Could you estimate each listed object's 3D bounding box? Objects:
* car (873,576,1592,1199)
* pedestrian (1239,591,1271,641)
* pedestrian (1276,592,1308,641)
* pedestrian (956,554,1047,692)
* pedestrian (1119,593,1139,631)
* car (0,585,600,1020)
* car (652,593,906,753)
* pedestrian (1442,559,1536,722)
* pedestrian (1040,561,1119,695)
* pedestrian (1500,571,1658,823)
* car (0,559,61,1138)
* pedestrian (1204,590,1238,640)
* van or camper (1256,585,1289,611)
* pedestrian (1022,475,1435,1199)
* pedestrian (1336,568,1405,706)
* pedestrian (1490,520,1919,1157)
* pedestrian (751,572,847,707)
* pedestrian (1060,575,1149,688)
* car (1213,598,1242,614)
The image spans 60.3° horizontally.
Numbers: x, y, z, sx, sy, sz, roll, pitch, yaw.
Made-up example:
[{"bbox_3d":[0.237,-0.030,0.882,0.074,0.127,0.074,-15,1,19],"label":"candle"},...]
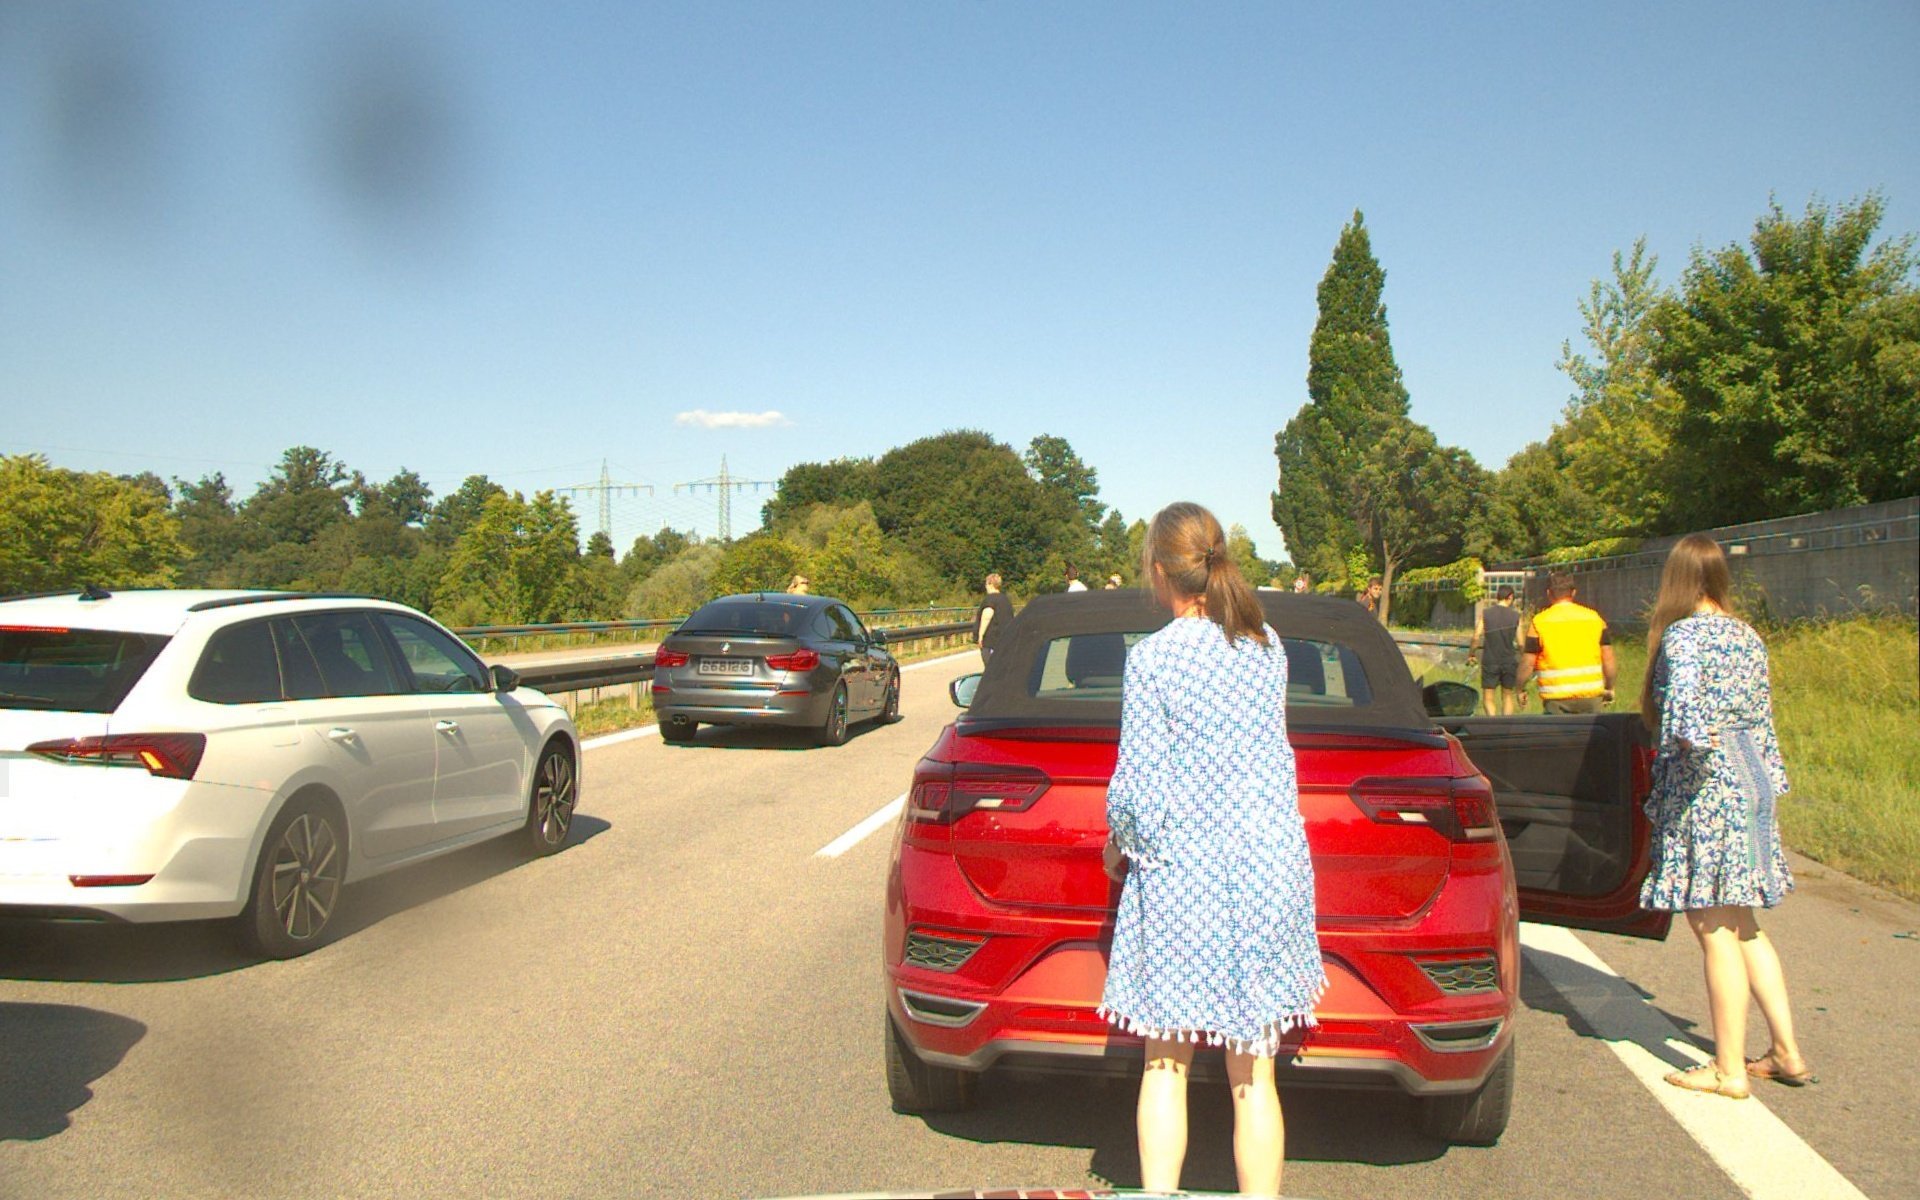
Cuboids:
[{"bbox_3d":[0.919,0.705,6.090,1.695,1.513,4.213,1,0,8],"label":"car"},{"bbox_3d":[10.385,0.554,58.224,1.033,1.719,1.018,1,0,15],"label":"pedestrian"},{"bbox_3d":[11.961,0.580,59.571,0.975,1.719,1.011,1,0,20],"label":"pedestrian"},{"bbox_3d":[0.602,0.322,23.538,1.043,1.916,1.094,0,0,16],"label":"pedestrian"},{"bbox_3d":[7.613,0.540,74.353,0.774,1.719,0.793,1,0,13],"label":"pedestrian"},{"bbox_3d":[-3.259,0.682,7.852,1.658,1.467,4.213,1,0,8],"label":"car"},{"bbox_3d":[-1.764,0.672,17.543,1.658,1.451,4.337,1,0,8],"label":"car"},{"bbox_3d":[5.880,0.441,18.422,0.875,1.755,0.755,1,0,10],"label":"pedestrian"},{"bbox_3d":[1.780,0.405,24.798,1.083,1.946,1.257,-1,0,0],"label":"pedestrian"},{"bbox_3d":[4.384,0.652,11.805,0.937,1.682,1.279,-1,0,16],"label":"pedestrian"},{"bbox_3d":[-3.364,0.662,2.377,1.752,1.519,4.492,0,0,-1],"label":"car"},{"bbox_3d":[9.177,0.528,58.132,1.090,1.719,0.974,1,0,12],"label":"pedestrian"},{"bbox_3d":[29.433,-0.186,155.591,1.954,2.356,4.467,1,0,25],"label":"van or camper"},{"bbox_3d":[0.592,0.608,3.731,0.821,1.712,0.744,0,0,8],"label":"pedestrian"},{"bbox_3d":[5.485,0.479,22.059,0.795,1.790,0.828,1,0,19],"label":"pedestrian"},{"bbox_3d":[2.367,0.647,5.180,1.106,1.725,0.889,-1,0,38],"label":"pedestrian"},{"bbox_3d":[-2.188,0.522,22.595,1.018,1.794,1.119,-1,0,11],"label":"pedestrian"},{"bbox_3d":[2.374,0.510,27.322,1.072,1.820,1.100,1,0,-22],"label":"pedestrian"},{"bbox_3d":[25.507,0.583,157.676,1.698,1.513,4.208,1,0,24],"label":"car"}]
